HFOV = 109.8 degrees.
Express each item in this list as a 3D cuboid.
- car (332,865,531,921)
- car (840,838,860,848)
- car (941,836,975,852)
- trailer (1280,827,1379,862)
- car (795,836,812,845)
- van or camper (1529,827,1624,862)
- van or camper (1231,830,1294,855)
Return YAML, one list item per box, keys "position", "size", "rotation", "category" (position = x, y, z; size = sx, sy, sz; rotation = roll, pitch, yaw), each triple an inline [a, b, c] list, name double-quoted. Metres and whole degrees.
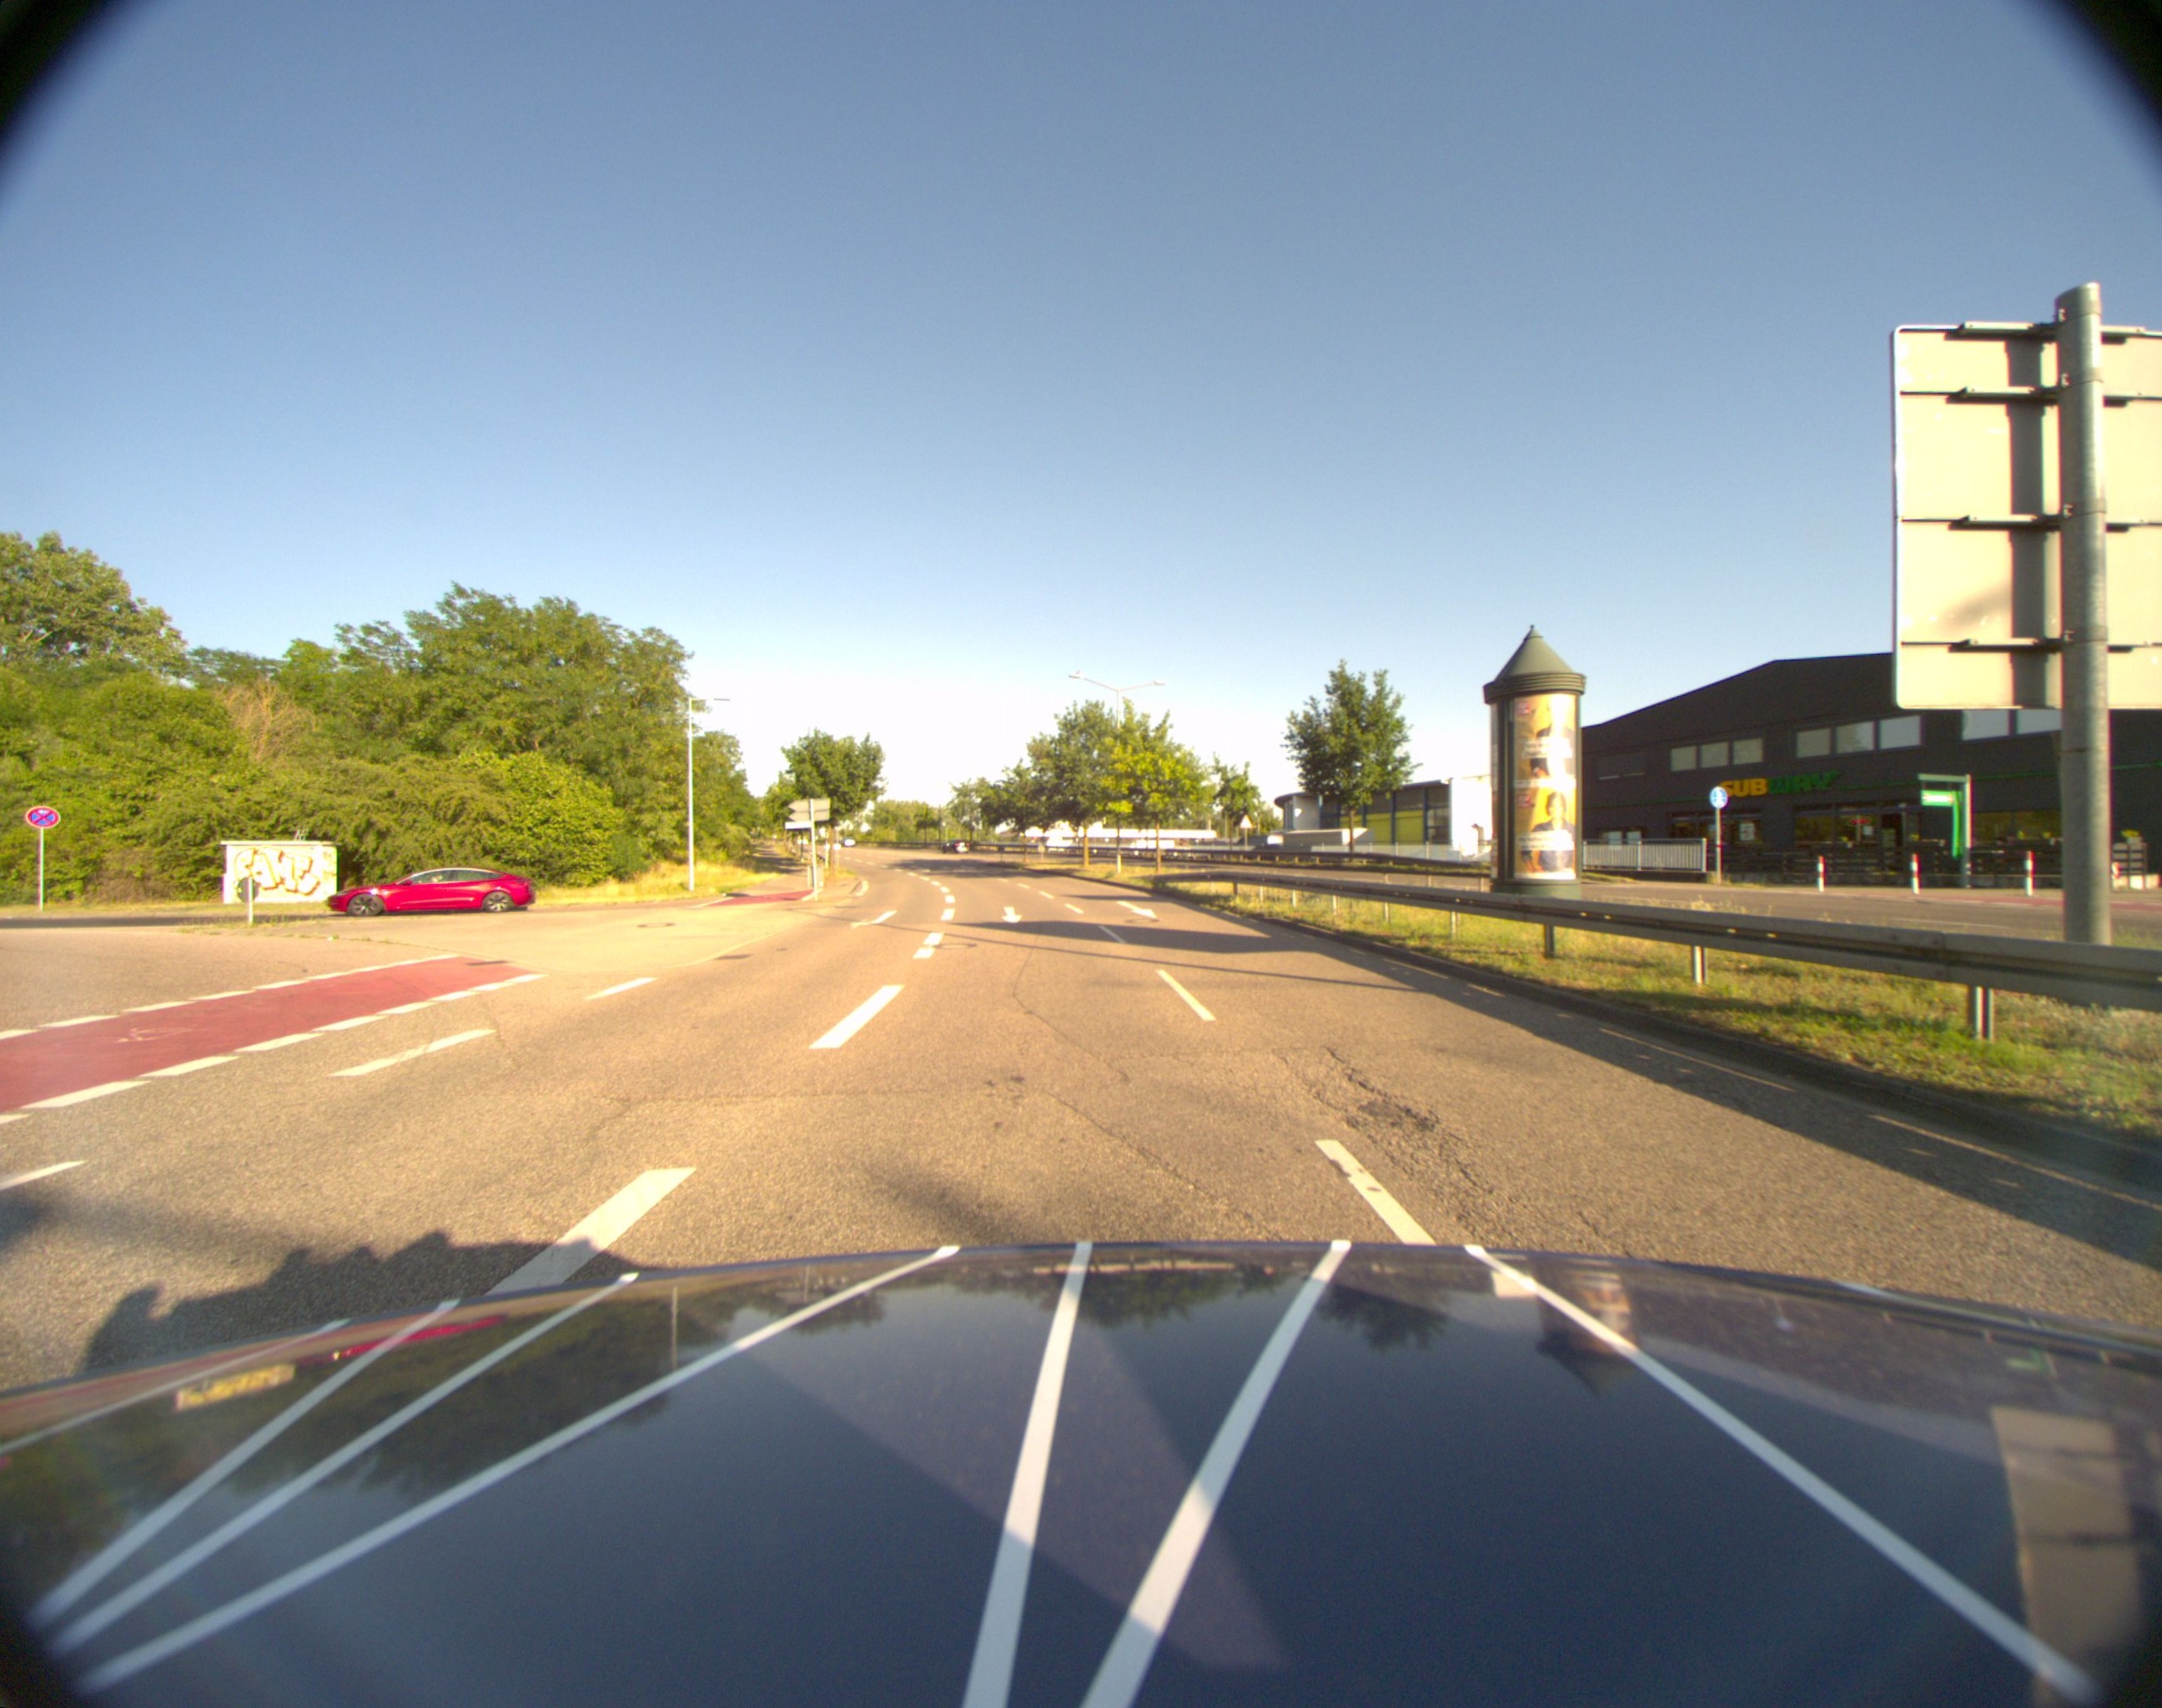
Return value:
- position: [-19.145, 1.107, 22.644]
  size: [4.368, 1.433, 1.778]
  rotation: [-1, -2, -39]
  category: "car"
- position: [-35.362, -1.723, 116.198]
  size: [1.681, 1.454, 4.094]
  rotation: [-2, 2, -35]
  category: "car"
- position: [-13.327, -1.096, 82.151]
  size: [1.855, 1.595, 4.382]
  rotation: [-2, 2, -35]
  category: "car"
- position: [15.284, -0.634, 47.259]
  size: [2.429, 1.959, 6.593]
  rotation: [-1, 2, -19]
  category: "trailer"
- position: [-47.693, -2.367, 130.541]
  size: [1.749, 1.454, 3.755]
  rotation: [-3, 2, -37]
  category: "car"
- position: [28.826, -0.586, 44.379]
  size: [4.220, 1.915, 2.002]
  rotation: [1, 3, 17]
  category: "van or camper"
- position: [12.856, -0.825, 54.183]
  size: [2.002, 1.676, 4.950]
  rotation: [-1, 2, -20]
  category: "van or camper"
